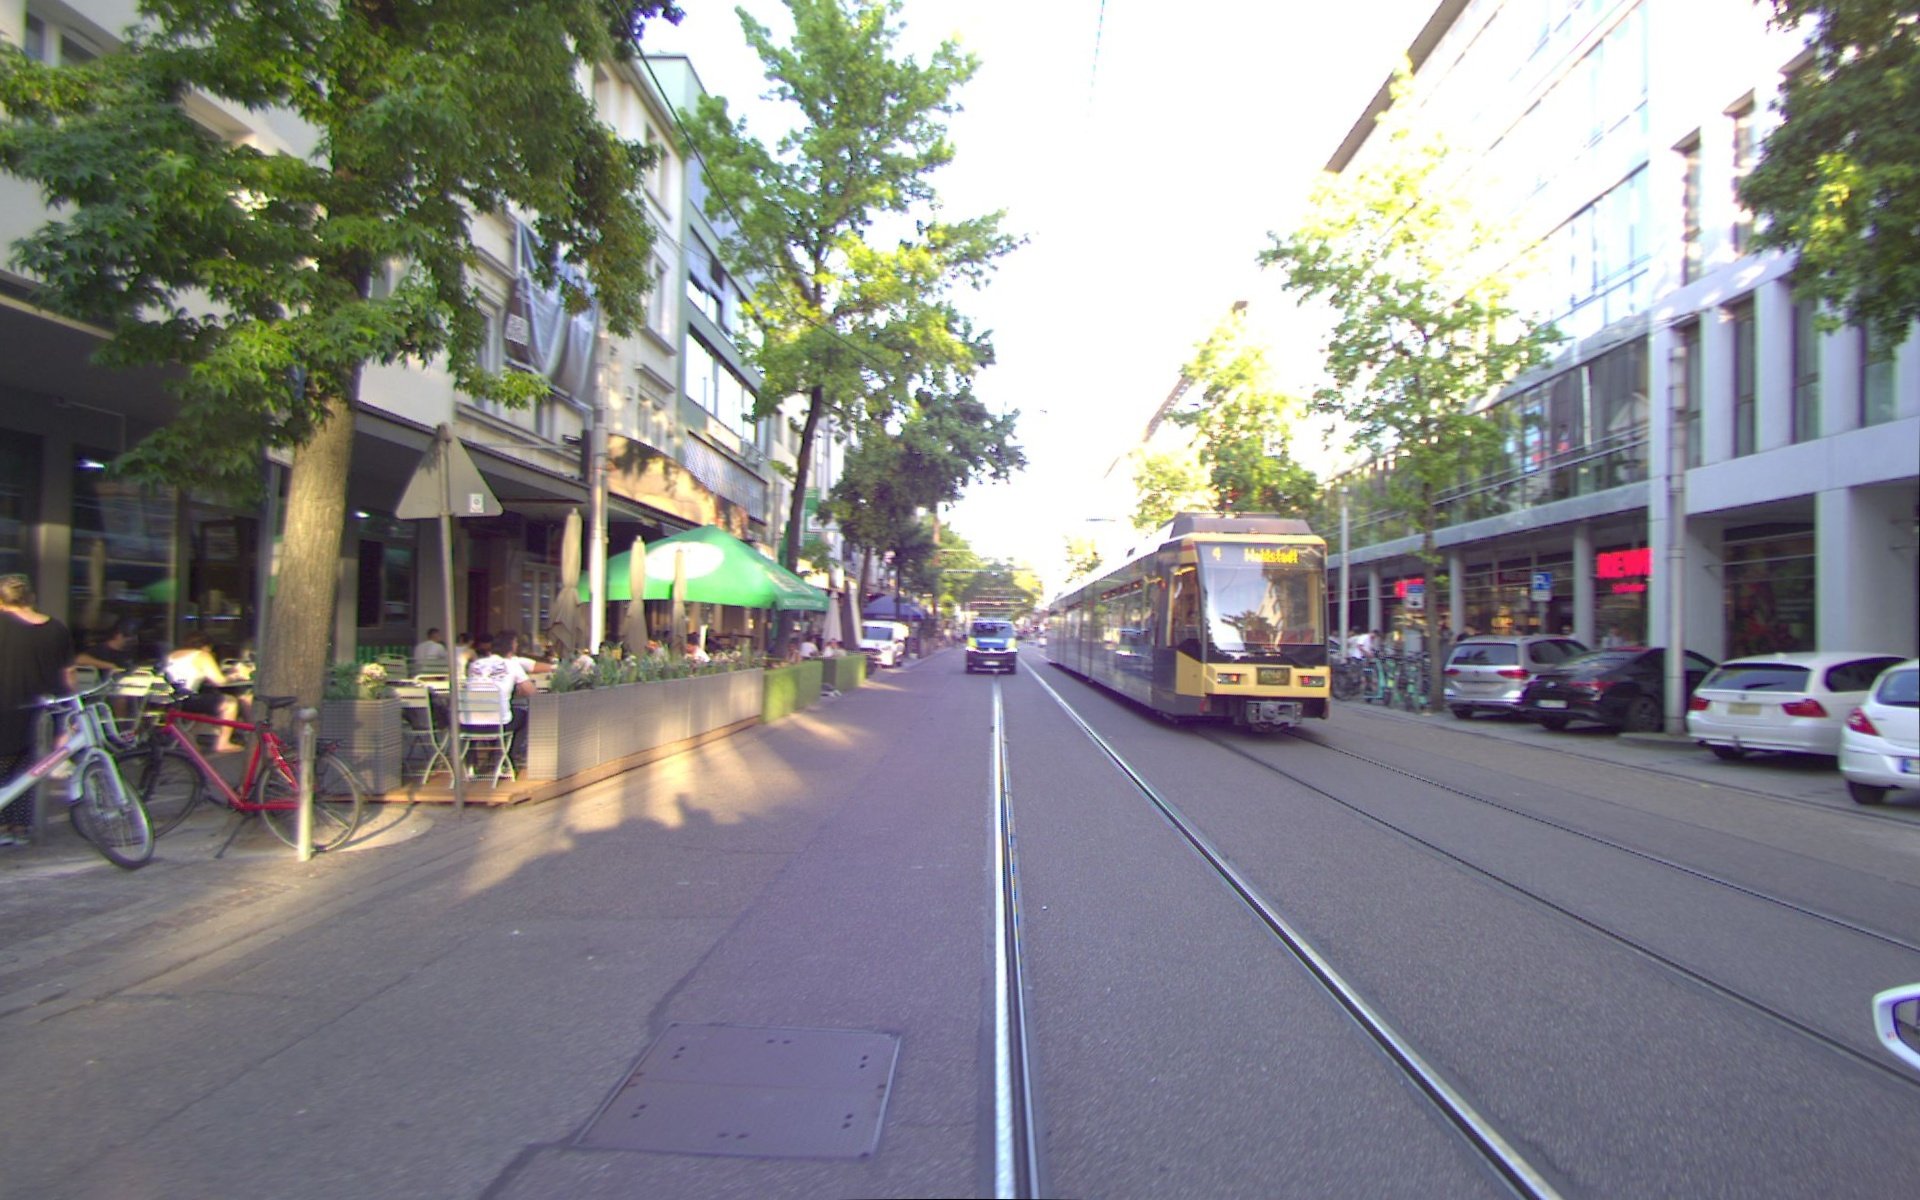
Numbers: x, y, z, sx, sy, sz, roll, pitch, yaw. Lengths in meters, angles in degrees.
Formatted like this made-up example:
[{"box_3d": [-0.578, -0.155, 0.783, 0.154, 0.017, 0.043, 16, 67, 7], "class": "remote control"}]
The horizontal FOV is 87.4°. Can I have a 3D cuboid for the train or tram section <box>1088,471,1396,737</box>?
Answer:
[{"box_3d": [4.493, 0.226, 18.825, 2.966, 3.570, 10.373, 1, -2, 1], "class": "train or tram section"}]

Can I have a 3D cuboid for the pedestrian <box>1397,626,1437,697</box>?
[{"box_3d": [10.931, 1.456, 24.027, 0.777, 1.647, 0.769, -1, -1, 20], "class": "pedestrian"}]

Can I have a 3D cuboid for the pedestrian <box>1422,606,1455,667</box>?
[{"box_3d": [14.582, 1.107, 30.605, 0.780, 1.836, 0.657, -2, -1, 37], "class": "pedestrian"}]

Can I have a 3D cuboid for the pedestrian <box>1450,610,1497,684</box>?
[{"box_3d": [13.105, 1.190, 25.628, 0.873, 1.836, 0.934, -2, -1, 37], "class": "pedestrian"}]

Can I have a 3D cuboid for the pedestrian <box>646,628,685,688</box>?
[{"box_3d": [-7.077, 1.390, 24.175, 0.643, 1.396, 0.766, 1, -2, 2], "class": "pedestrian"}]

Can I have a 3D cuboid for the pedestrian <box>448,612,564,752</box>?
[{"box_3d": [-4.715, 0.831, 10.489, 0.704, 1.380, 0.925, 1, -2, 4], "class": "pedestrian"}]

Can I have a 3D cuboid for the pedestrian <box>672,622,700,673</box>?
[{"box_3d": [-7.649, 1.335, 28.063, 0.528, 1.396, 0.679, 1, -2, 2], "class": "pedestrian"}]

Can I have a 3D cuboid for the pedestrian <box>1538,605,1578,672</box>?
[{"box_3d": [14.580, 0.934, 24.514, 0.748, 1.592, 0.631, 0, -2, 24], "class": "pedestrian"}]

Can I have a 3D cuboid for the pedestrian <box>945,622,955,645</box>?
[{"box_3d": [-0.814, 2.807, 84.997, 0.739, 1.904, 0.575, 3, -2, -3], "class": "pedestrian"}]

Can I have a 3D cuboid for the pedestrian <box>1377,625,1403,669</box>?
[{"box_3d": [15.711, 1.727, 36.739, 0.668, 1.568, 0.665, 1, -2, 1], "class": "pedestrian"}]

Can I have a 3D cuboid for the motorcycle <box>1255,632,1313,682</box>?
[{"box_3d": [10.274, 1.779, 31.789, 2.189, 1.491, 0.786, 0, 0, -43], "class": "motorcycle"}]

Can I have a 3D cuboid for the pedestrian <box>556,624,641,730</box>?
[{"box_3d": [-4.954, 1.033, 13.825, 0.704, 1.380, 1.012, 1, -2, 4], "class": "pedestrian"}]

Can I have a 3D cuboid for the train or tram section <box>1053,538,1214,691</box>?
[{"box_3d": [4.631, 0.500, 29.217, 2.957, 3.570, 10.404, 1, -2, 1], "class": "train or tram section"}]

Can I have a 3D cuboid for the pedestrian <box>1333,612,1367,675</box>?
[{"box_3d": [11.813, 1.300, 30.437, 0.811, 1.837, 0.594, -2, 1, -37], "class": "pedestrian"}]

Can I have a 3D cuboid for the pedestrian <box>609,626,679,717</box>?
[{"box_3d": [-5.017, 1.122, 16.018, 0.704, 1.380, 1.012, 1, -2, 4], "class": "pedestrian"}]

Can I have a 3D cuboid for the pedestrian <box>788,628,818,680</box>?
[{"box_3d": [-4.275, 1.462, 27.339, 0.633, 1.363, 0.731, 1, -2, 3], "class": "pedestrian"}]

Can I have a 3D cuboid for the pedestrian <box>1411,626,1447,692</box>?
[{"box_3d": [11.964, 1.486, 25.611, 0.695, 1.646, 0.657, -2, -1, 37], "class": "pedestrian"}]

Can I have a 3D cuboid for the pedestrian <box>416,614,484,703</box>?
[{"box_3d": [-8.302, 0.944, 16.373, 0.643, 1.396, 0.766, 1, -2, 2], "class": "pedestrian"}]

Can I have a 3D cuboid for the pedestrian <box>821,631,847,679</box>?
[{"box_3d": [-3.424, 1.489, 27.318, 0.542, 1.283, 0.642, 1, -2, 2], "class": "pedestrian"}]

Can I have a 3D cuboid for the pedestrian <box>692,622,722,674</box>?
[{"box_3d": [-7.033, 1.335, 27.964, 0.595, 1.396, 0.648, 1, -2, 2], "class": "pedestrian"}]

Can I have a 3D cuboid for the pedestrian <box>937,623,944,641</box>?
[{"box_3d": [-1.924, 3.184, 99.179, 0.565, 1.708, 0.552, 4, -2, -8], "class": "pedestrian"}]

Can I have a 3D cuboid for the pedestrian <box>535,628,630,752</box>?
[{"box_3d": [-4.420, 1.037, 11.799, 0.704, 1.380, 0.872, 1, -2, 4], "class": "pedestrian"}]

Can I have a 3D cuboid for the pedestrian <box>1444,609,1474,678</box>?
[{"box_3d": [13.684, 1.186, 27.534, 0.648, 1.836, 0.715, -2, -1, 31], "class": "pedestrian"}]

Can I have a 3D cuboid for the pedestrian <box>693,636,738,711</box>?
[{"box_3d": [-4.197, 1.249, 17.252, 0.575, 1.252, 0.545, 1, -2, 3], "class": "pedestrian"}]

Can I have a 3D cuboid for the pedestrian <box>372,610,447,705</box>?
[{"box_3d": [-8.402, 0.874, 15.355, 0.643, 1.396, 0.766, 1, -2, 2], "class": "pedestrian"}]

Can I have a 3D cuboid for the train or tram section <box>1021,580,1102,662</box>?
[{"box_3d": [4.898, 1.106, 50.522, 2.994, 3.570, 10.533, 2, -2, 1], "class": "train or tram section"}]

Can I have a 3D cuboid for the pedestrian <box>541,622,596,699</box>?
[{"box_3d": [-7.265, 1.116, 18.658, 0.643, 1.396, 0.766, 1, -2, 2], "class": "pedestrian"}]

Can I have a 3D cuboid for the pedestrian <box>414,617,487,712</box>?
[{"box_3d": [-7.730, 0.974, 15.266, 0.643, 1.396, 0.766, 1, -2, 2], "class": "pedestrian"}]

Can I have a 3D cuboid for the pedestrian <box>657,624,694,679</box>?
[{"box_3d": [-7.146, 1.297, 25.254, 0.643, 1.348, 0.766, 1, -2, 2], "class": "pedestrian"}]

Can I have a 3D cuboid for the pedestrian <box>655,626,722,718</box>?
[{"box_3d": [-4.283, 1.123, 15.902, 0.704, 1.380, 1.012, 1, -2, 4], "class": "pedestrian"}]

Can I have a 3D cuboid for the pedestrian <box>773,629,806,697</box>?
[{"box_3d": [-3.595, 1.324, 21.219, 0.538, 1.396, 0.565, 1, -2, 2], "class": "pedestrian"}]

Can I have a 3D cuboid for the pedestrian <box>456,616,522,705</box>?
[{"box_3d": [-7.631, 0.973, 16.292, 0.643, 1.396, 0.766, 1, -2, 2], "class": "pedestrian"}]

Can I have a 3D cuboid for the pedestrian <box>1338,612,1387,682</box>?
[{"box_3d": [11.516, 1.334, 28.743, 0.935, 1.939, 0.861, -2, 0, -10], "class": "pedestrian"}]

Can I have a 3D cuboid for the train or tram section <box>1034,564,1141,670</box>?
[{"box_3d": [4.772, 0.741, 39.839, 2.953, 3.570, 10.848, 1, -2, 1], "class": "train or tram section"}]

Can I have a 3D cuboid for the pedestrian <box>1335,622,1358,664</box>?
[{"box_3d": [16.410, 1.828, 42.650, 0.651, 1.721, 0.806, 1, -2, 1], "class": "pedestrian"}]

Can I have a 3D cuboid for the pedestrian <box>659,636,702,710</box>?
[{"box_3d": [-4.799, 1.243, 17.288, 0.534, 1.234, 0.511, 1, -2, 3], "class": "pedestrian"}]

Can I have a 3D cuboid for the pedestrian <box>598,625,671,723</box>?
[{"box_3d": [-4.814, 1.082, 14.908, 0.704, 1.380, 0.925, 1, -2, 4], "class": "pedestrian"}]

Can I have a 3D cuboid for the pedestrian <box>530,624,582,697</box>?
[{"box_3d": [-7.901, 1.177, 19.681, 0.643, 1.396, 0.766, 1, -2, 2], "class": "pedestrian"}]

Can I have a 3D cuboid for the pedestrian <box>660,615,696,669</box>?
[{"box_3d": [-7.517, 1.125, 26.785, 0.679, 1.396, 0.766, 1, -2, 2], "class": "pedestrian"}]

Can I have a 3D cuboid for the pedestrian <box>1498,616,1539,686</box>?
[{"box_3d": [14.428, 1.303, 25.966, 0.717, 1.777, 0.717, -1, -1, 15], "class": "pedestrian"}]

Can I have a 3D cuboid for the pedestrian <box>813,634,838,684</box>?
[{"box_3d": [-3.784, 1.654, 28.310, 0.570, 1.396, 0.565, 1, -2, 2], "class": "pedestrian"}]

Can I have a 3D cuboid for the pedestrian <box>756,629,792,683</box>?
[{"box_3d": [-4.533, 1.356, 24.483, 0.696, 1.281, 0.600, 1, -2, 2], "class": "pedestrian"}]

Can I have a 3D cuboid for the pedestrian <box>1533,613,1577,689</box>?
[{"box_3d": [14.625, 1.246, 24.719, 0.646, 1.836, 0.717, -1, -1, 6], "class": "pedestrian"}]
